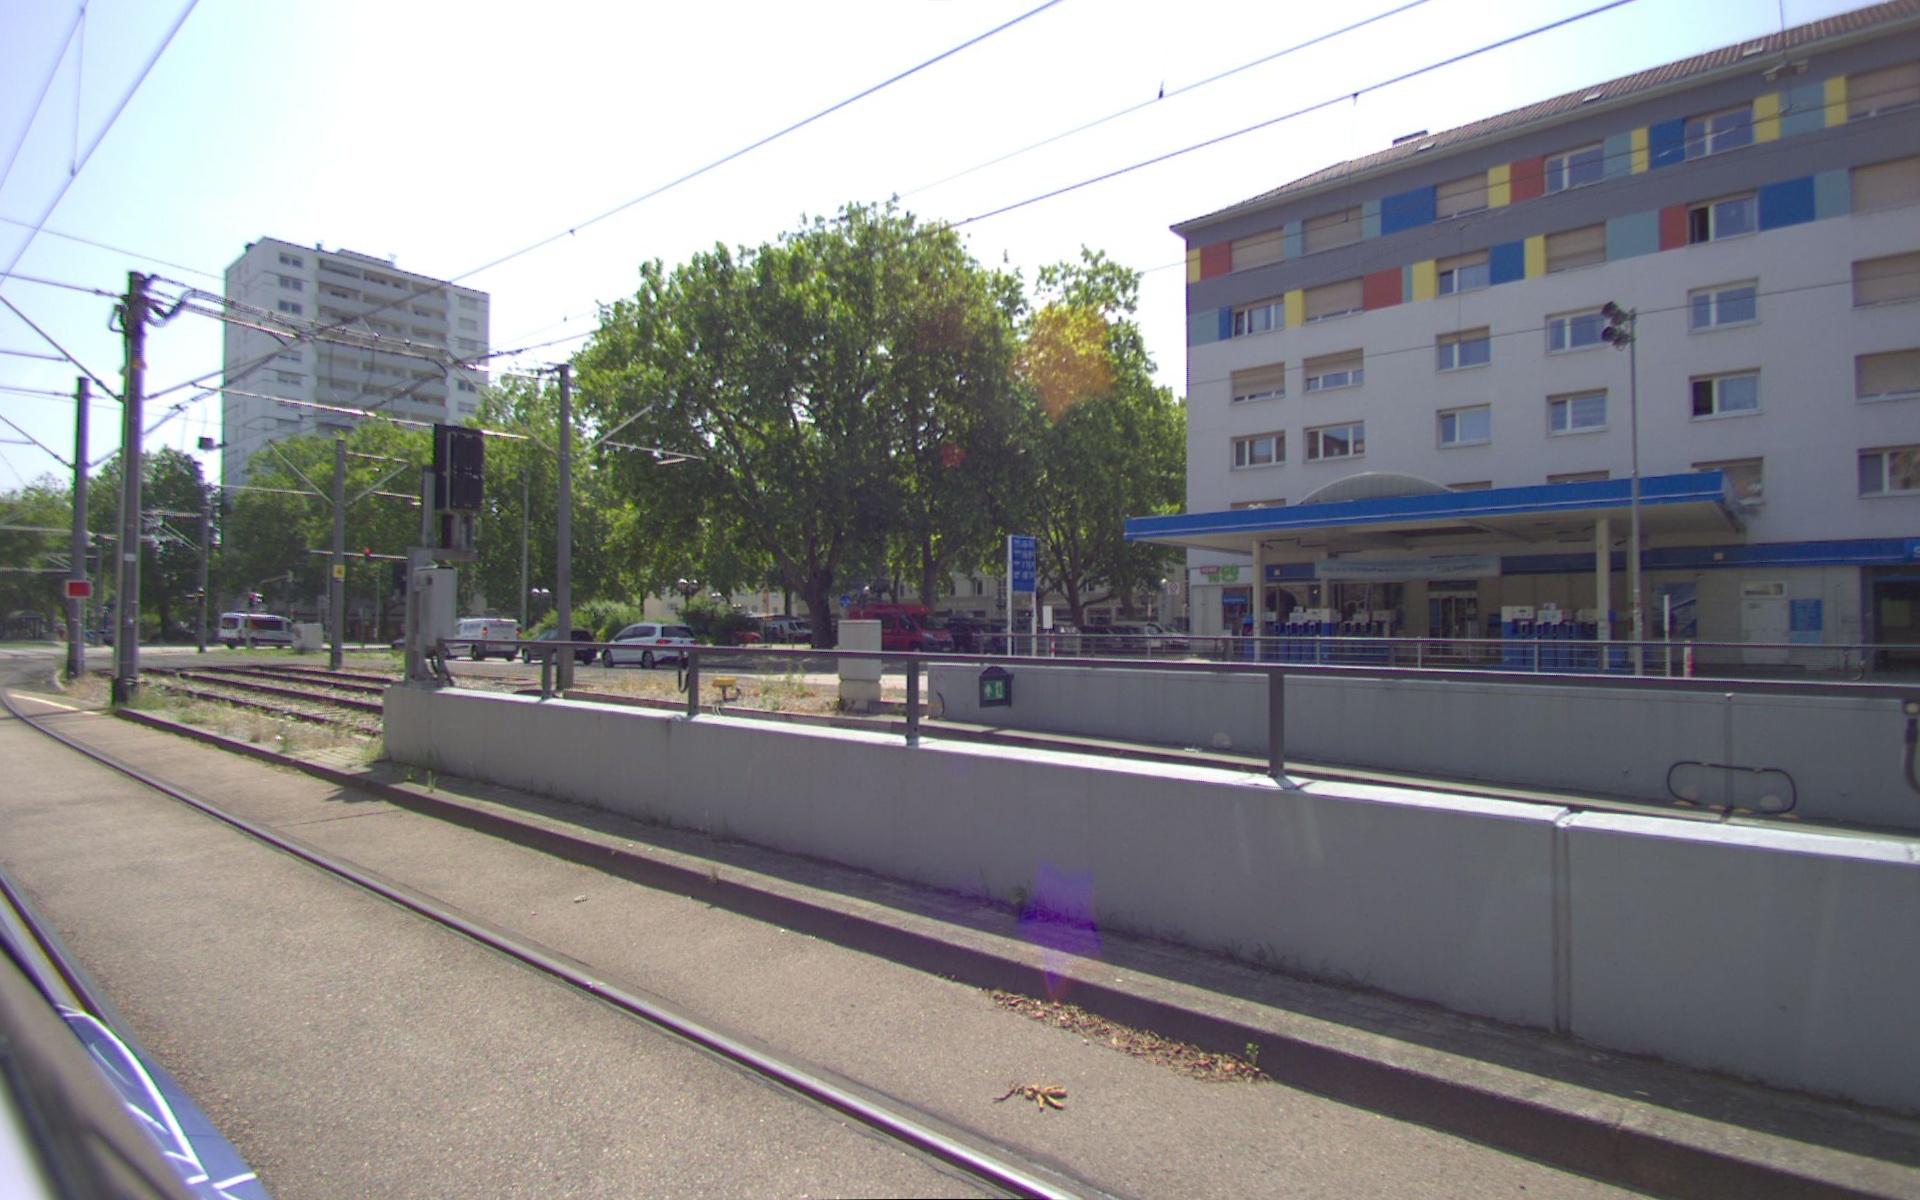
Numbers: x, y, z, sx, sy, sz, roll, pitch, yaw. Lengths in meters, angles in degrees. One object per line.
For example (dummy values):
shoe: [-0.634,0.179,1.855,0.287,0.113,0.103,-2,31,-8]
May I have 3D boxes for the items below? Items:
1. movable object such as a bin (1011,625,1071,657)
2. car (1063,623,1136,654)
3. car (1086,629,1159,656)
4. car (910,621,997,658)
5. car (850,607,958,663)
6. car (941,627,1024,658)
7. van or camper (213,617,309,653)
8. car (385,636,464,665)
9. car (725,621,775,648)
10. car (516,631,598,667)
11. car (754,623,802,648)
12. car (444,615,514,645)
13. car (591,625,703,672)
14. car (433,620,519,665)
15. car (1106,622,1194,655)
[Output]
movable object such as a bin: [4.250,2.115,53.023,1.985,1.623,2.689,-2,-2,40]
car: [8.071,2.229,58.819,3.997,1.719,1.582,-2,-2,40]
car: [9.774,2.555,61.009,3.995,1.622,1.845,-2,-3,38]
car: [-0.331,1.929,49.821,3.998,1.733,1.973,-2,-2,41]
car: [-2.596,1.520,45.887,4.978,2.411,1.828,0,-1,40]
car: [1.141,2.160,52.075,3.997,1.538,1.844,-2,-3,41]
van or camper: [-50.757,2.554,73.713,2.053,2.480,5.875,-1,-2,14]
car: [-27.101,2.547,51.136,4.624,1.369,1.927,-2,-3,40]
car: [-17.041,2.788,82.208,3.998,2.099,1.973,-2,-2,41]
car: [-16.855,2.040,42.219,3.779,1.431,1.580,-2,-4,41]
car: [-15.406,2.970,85.658,3.998,2.099,1.973,-2,-2,41]
car: [-45.175,2.807,95.308,2.060,2.657,6.595,-1,-2,17]
car: [-11.666,1.797,37.583,4.601,1.638,1.827,-2,-4,42]
car: [-22.588,1.977,47.151,4.800,2.006,1.759,-2,-3,40]
car: [11.963,2.450,63.909,5.097,2.006,1.900,-2,-3,36]
